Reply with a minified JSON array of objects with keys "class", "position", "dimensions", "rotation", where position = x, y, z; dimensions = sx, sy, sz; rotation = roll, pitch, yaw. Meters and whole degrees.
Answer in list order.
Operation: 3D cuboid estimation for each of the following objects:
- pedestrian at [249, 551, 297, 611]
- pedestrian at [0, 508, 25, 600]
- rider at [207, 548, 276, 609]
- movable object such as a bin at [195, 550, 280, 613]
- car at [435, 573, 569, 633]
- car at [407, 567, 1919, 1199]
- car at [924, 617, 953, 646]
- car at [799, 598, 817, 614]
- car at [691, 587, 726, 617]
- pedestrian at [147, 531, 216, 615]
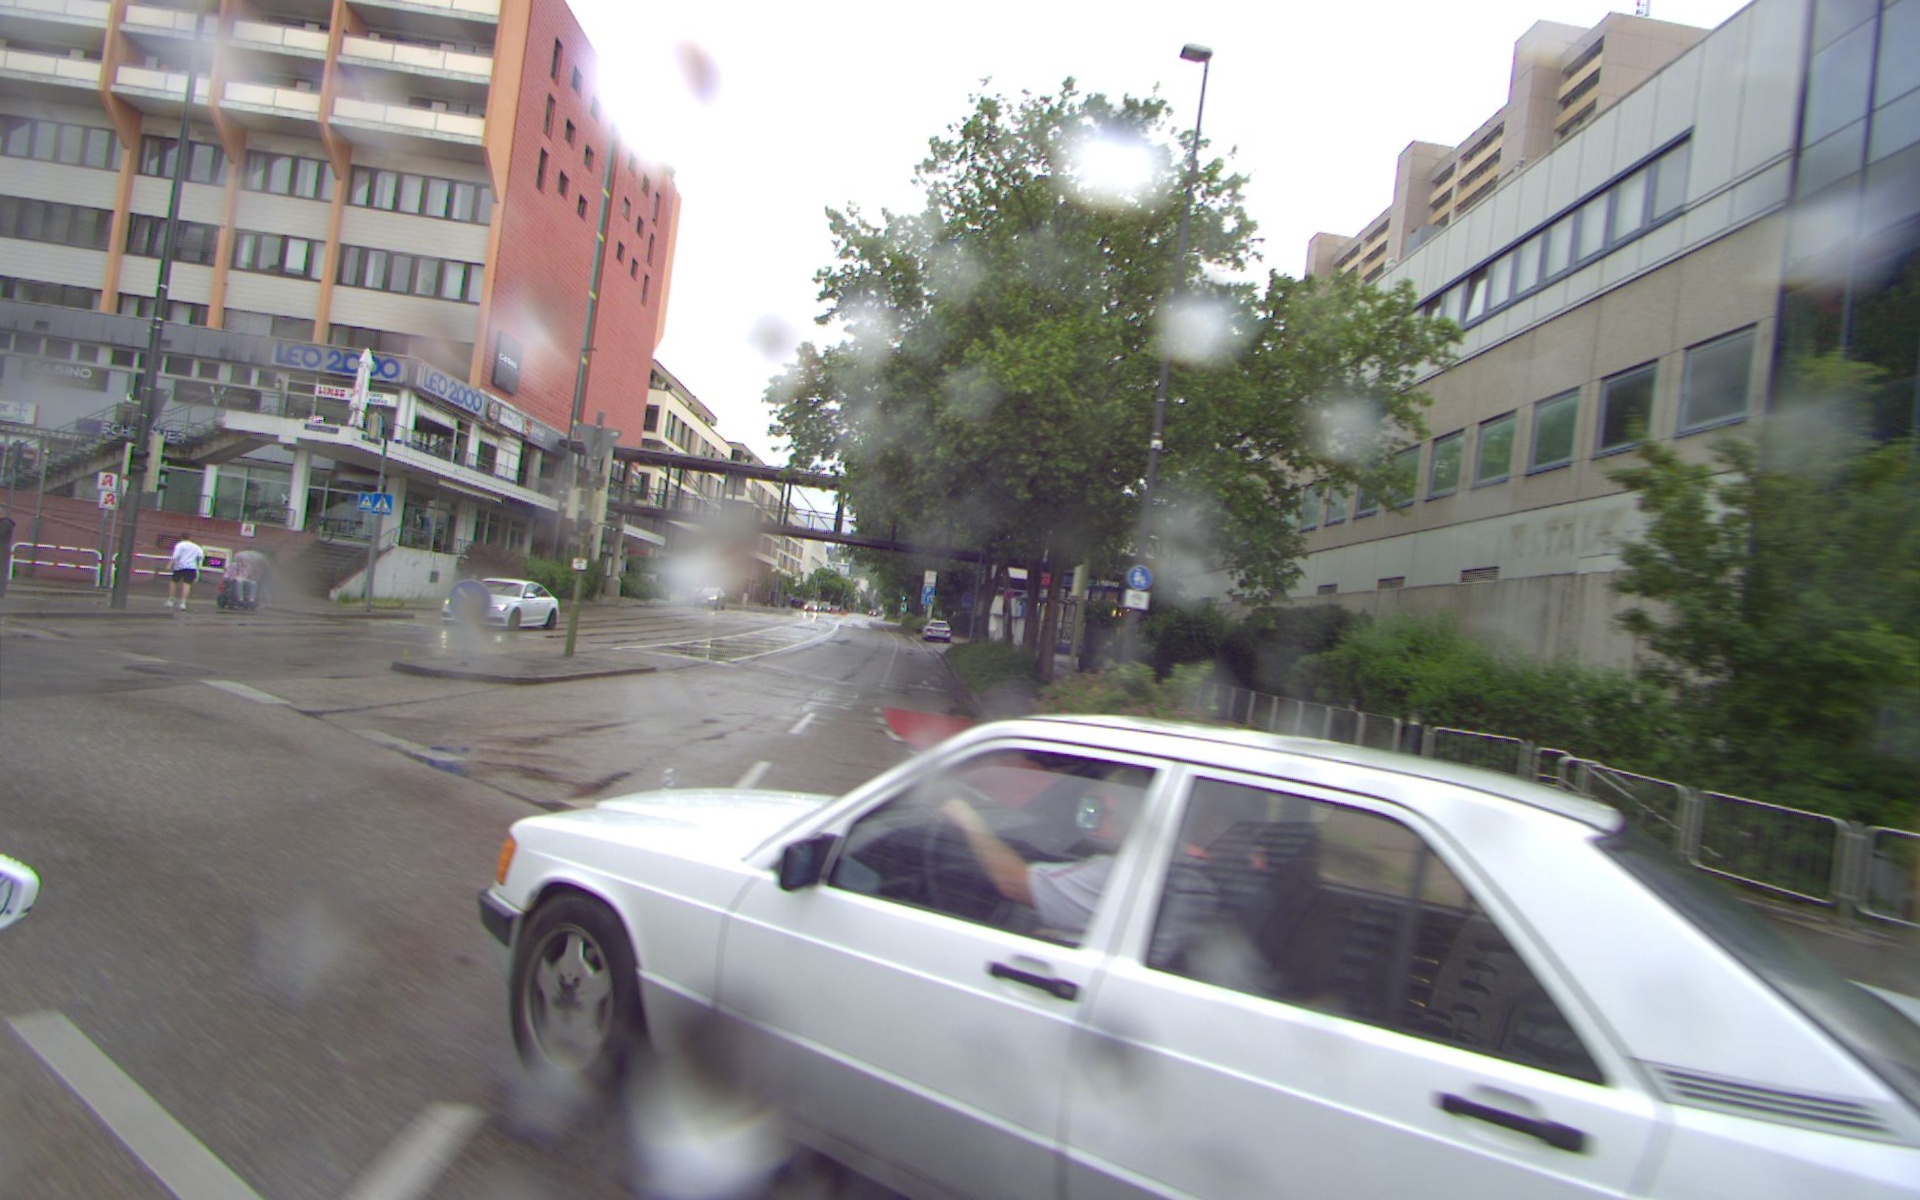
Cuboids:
[{"class":"pedestrian","position":[-20.976,-0.577,30.707],"dimensions":[0.917,1.688,0.794],"rotation":[6,-1,37]},{"class":"pedestrian","position":[-17.698,-0.871,18.342],"dimensions":[0.645,1.627,0.708],"rotation":[7,1,34]},{"class":"rider","position":[-17.209,-0.511,24.104],"dimensions":[1.072,1.301,0.923],"rotation":[7,2,30]},{"class":"movable object such as a bin","position":[-17.359,-0.443,24.185],"dimensions":[1.430,1.349,1.131],"rotation":[5,0,30]},{"class":"car","position":[-13.151,0.134,29.236],"dimensions":[1.779,1.423,4.790],"rotation":[6,-1,-2]},{"class":"car","position":[0.433,0.884,2.878],"dimensions":[4.200,1.465,1.636],"rotation":[6,-2,33]},{"class":"car","position":[-1.569,2.206,70.800],"dimensions":[1.802,1.827,4.000],"rotation":[5,-1,-3]},{"class":"car","position":[-19.965,0.780,132.183],"dimensions":[1.684,1.828,4.002],"rotation":[6,-2,-1]},{"class":"car","position":[-18.956,0.179,75.965],"dimensions":[1.966,2.037,3.996],"rotation":[6,-2,-9]},{"class":"pedestrian","position":[-17.275,-0.609,22.317],"dimensions":[1.112,1.710,0.828],"rotation":[6,-1,40]}]
